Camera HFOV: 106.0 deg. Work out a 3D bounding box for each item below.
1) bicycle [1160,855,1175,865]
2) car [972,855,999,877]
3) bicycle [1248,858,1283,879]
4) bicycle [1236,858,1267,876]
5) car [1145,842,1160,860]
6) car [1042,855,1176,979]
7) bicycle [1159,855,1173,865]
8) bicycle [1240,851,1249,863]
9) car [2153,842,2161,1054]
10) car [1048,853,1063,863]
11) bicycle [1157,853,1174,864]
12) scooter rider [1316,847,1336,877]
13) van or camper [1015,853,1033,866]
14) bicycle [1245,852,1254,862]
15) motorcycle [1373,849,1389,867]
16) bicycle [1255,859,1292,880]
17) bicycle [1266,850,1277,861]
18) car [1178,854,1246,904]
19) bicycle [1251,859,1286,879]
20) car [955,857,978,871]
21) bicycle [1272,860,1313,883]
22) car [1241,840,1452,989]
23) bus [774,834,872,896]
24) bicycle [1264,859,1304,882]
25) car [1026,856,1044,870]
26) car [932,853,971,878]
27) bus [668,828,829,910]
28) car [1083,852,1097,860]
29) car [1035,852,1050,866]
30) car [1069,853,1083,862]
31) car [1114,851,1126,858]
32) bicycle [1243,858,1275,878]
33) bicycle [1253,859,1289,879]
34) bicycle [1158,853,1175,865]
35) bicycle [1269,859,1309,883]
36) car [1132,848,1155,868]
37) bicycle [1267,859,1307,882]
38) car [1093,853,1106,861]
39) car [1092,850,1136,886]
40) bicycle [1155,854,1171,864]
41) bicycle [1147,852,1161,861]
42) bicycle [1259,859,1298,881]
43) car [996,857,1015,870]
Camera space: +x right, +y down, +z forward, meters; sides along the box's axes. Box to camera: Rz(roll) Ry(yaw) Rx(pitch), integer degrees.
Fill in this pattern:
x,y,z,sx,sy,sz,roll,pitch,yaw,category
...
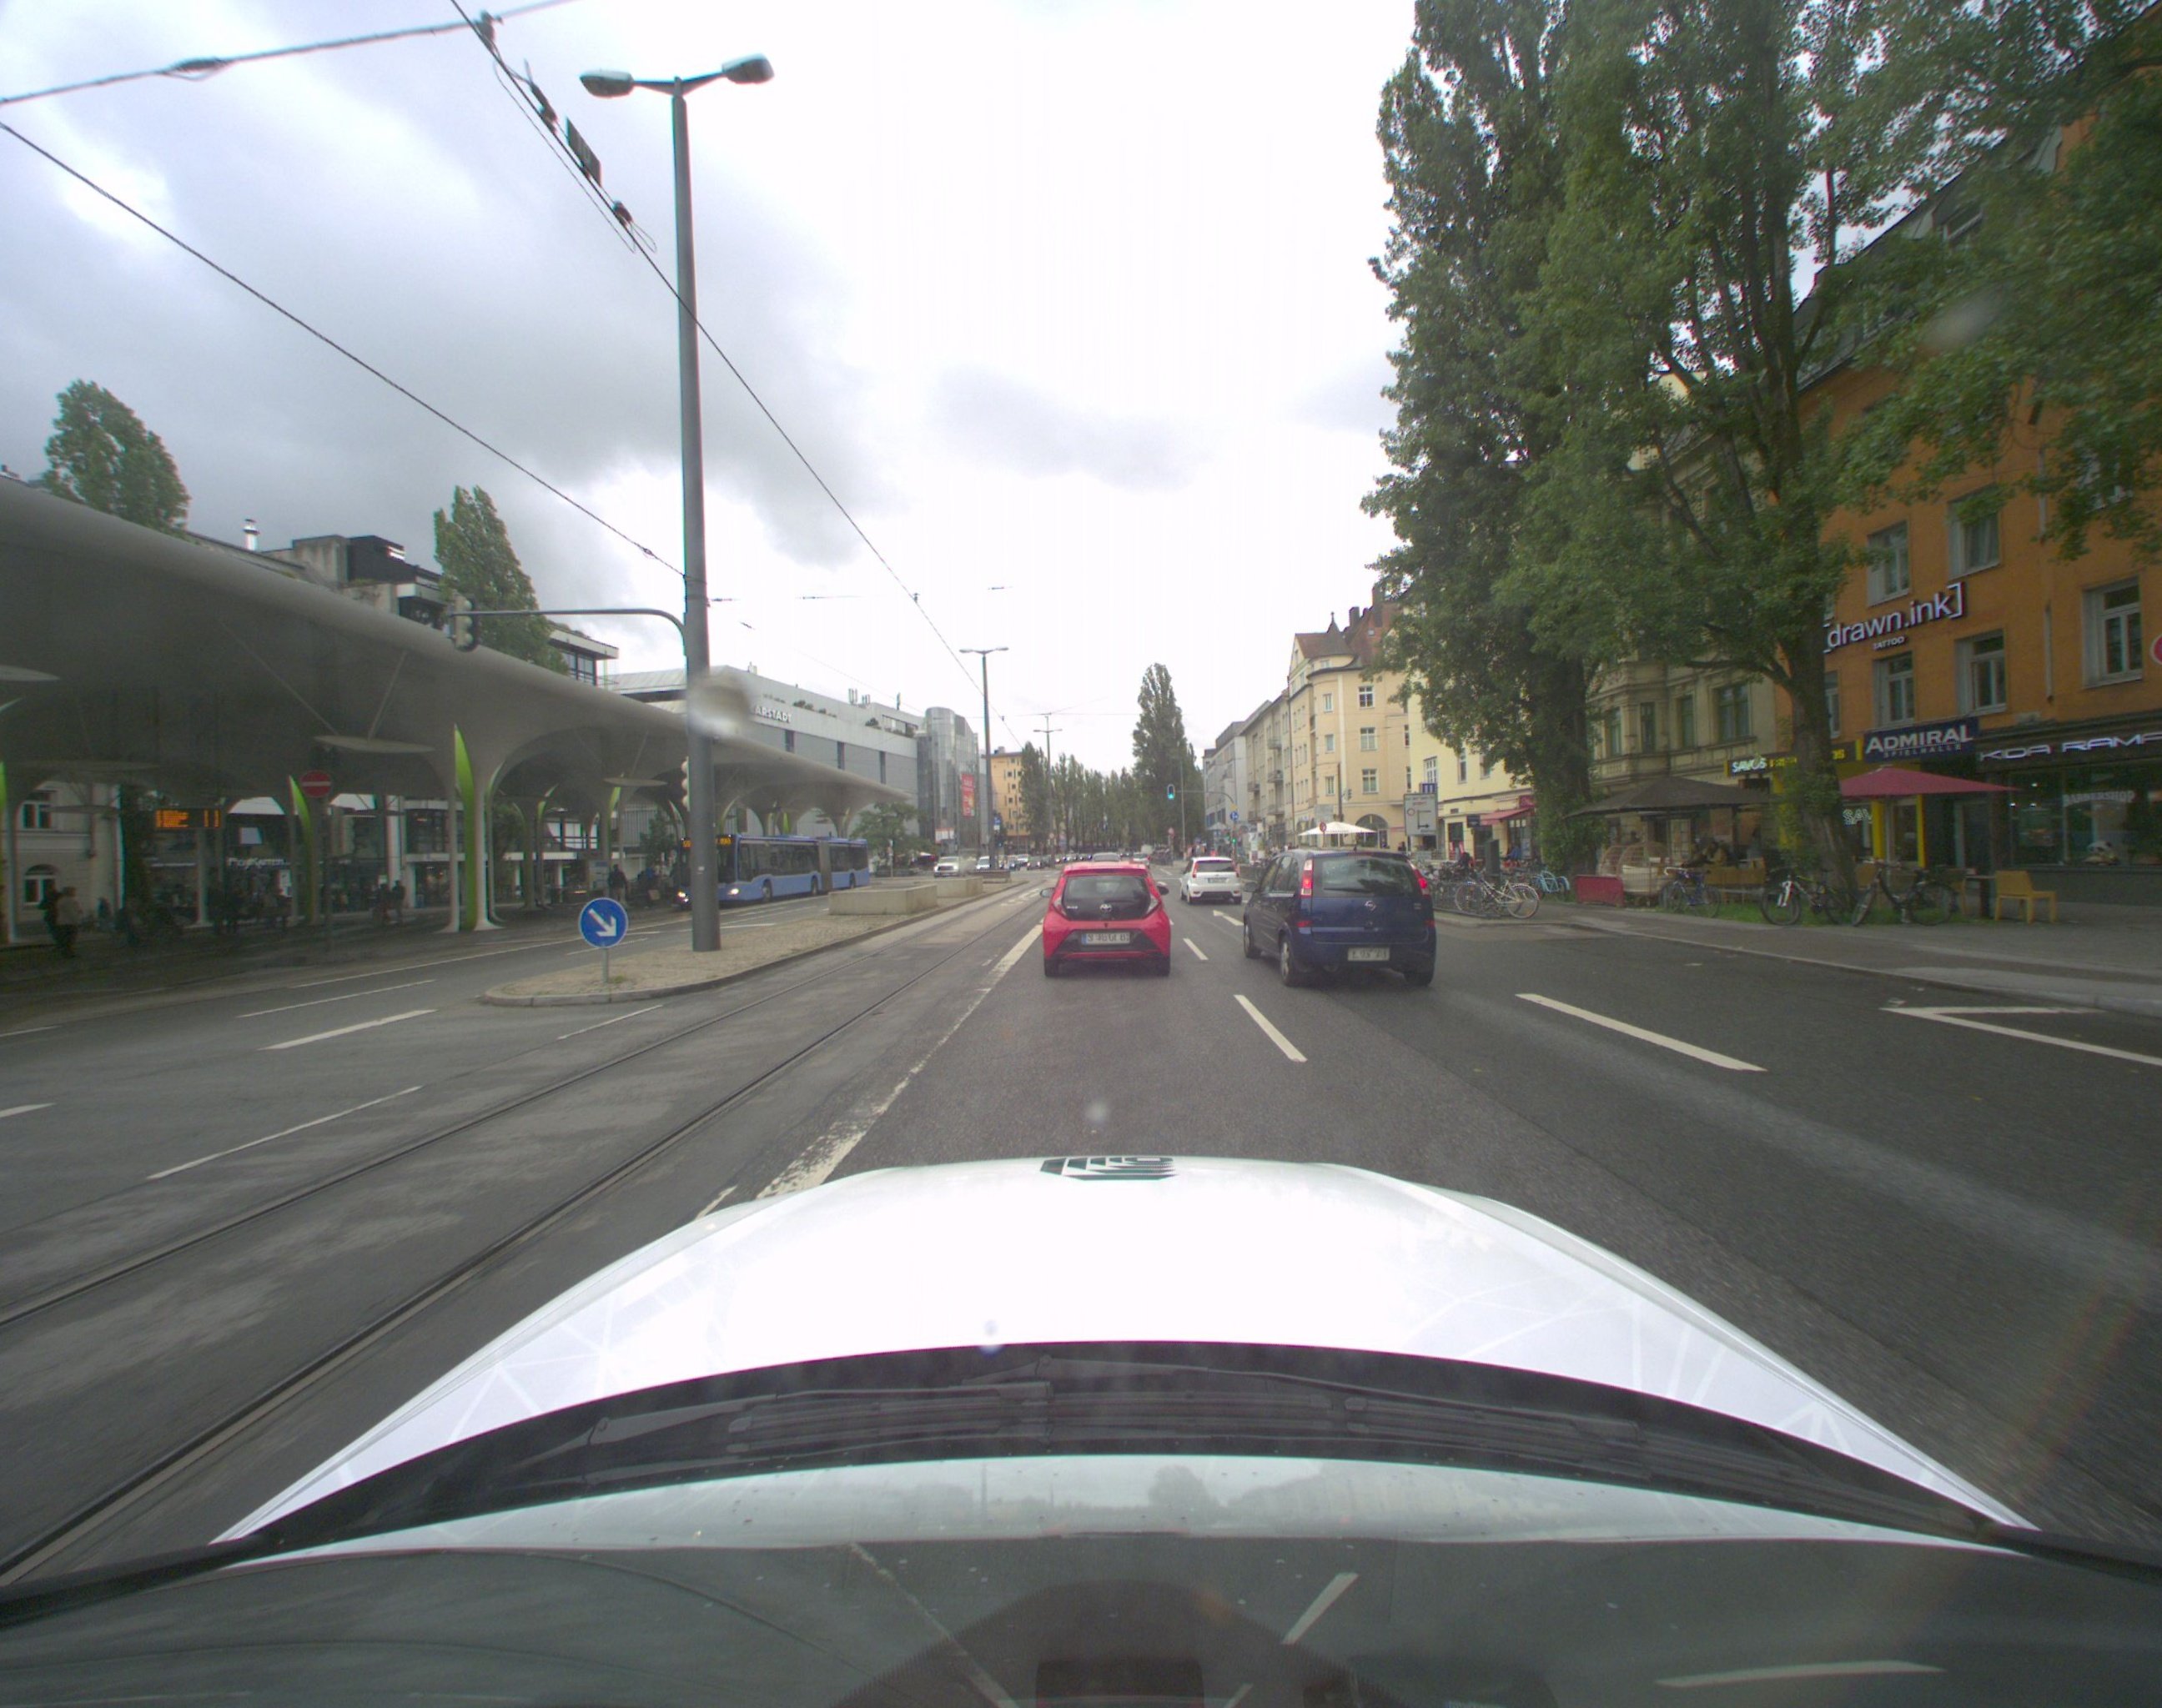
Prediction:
x,y,z,sx,sy,sz,roll,pitch,yaw,category
9.263,0.655,87.177,0.502,1.028,1.582,-2,0,-40,bicycle
-8.501,1.053,72.732,1.780,1.855,4.217,-3,0,-1,car
9.659,0.768,42.710,0.350,0.996,1.819,-2,-1,-45,bicycle
9.847,0.774,47.035,0.350,0.996,1.819,-2,-1,-44,bicycle
11.793,-0.482,134.253,2.098,2.718,4.807,-2,0,3,car
0.423,0.771,11.411,1.598,1.461,3.132,-1,0,3,car
9.220,0.651,88.035,0.502,1.028,1.582,-2,0,-40,bicycle
15.762,0.283,78.597,0.564,1.107,1.867,-2,0,2,bicycle
8.328,0.613,3.307,1.987,1.440,4.529,-2,0,0,car
-4.114,0.637,132.851,1.985,1.412,4.171,-2,0,3,car
9.320,0.551,90.087,1.782,1.158,0.551,-2,0,40,bicycle
11.614,0.359,38.607,0.698,1.389,0.643,-2,0,0,scooter rider
-8.401,0.813,120.413,1.920,1.826,5.444,-2,0,3,van or camper
16.260,0.283,78.565,0.492,0.975,1.867,-2,0,2,bicycle
18.971,0.250,51.512,0.484,1.156,1.572,-2,0,3,motorcycle
9.602,0.773,40.640,1.818,0.996,0.350,-3,-1,42,bicycle
18.322,0.152,78.490,0.493,1.059,1.865,-2,0,-2,bicycle
4.117,0.755,26.048,1.693,1.426,3.498,-2,0,2,car
9.645,0.770,41.993,0.350,0.996,1.819,-2,-1,-45,bicycle
-11.760,1.007,83.800,1.667,1.378,4.614,-3,0,1,car
9.439,0.784,36.459,0.350,0.996,1.819,-2,-1,-44,bicycle
3.198,0.641,10.526,1.696,1.589,3.558,-1,0,2,car
-14.288,0.566,45.780,2.650,3.007,7.518,-4,0,2,bus
9.588,0.778,38.493,1.818,0.996,0.350,-3,-1,42,bicycle
-5.081,0.991,89.465,1.545,1.445,3.527,-2,0,-10,car
-10.860,0.905,68.697,2.168,1.887,6.156,-2,0,0,car
-14.498,0.587,36.804,2.651,3.007,10.516,-4,0,1,bus
1.883,0.508,169.623,1.980,1.534,4.603,-2,0,12,car
-4.450,0.624,94.767,1.502,1.534,2.831,-3,0,-6,car
-1.005,0.629,155.815,1.925,1.738,4.600,-1,0,9,car
9.696,0.135,203.051,1.978,1.728,3.934,-2,0,16,car
9.810,0.779,44.878,0.350,0.996,1.819,-2,-1,-44,bicycle
9.621,0.771,41.327,0.350,0.996,1.819,-2,-1,-45,bicycle
9.324,0.566,88.693,0.562,1.198,1.782,-2,0,-45,bicycle
9.492,0.782,37.176,0.350,0.996,1.819,-2,-1,-44,bicycle
6.051,0.370,78.863,1.986,1.838,4.002,-2,0,2,car
9.567,0.780,37.838,1.818,0.996,0.350,-3,-1,42,bicycle
4.150,0.573,178.741,1.980,1.691,4.938,0,0,12,car
1.597,0.654,39.913,1.986,1.618,4.002,-2,0,2,car
9.318,0.565,92.898,1.781,1.158,0.490,-2,0,32,bicycle
9.564,0.318,106.096,1.815,1.136,0.590,-2,0,45,bicycle
9.520,0.776,39.303,1.818,0.996,0.350,-3,-1,42,bicycle
-8.459,1.041,91.685,1.672,1.395,4.232,-2,0,0,car
